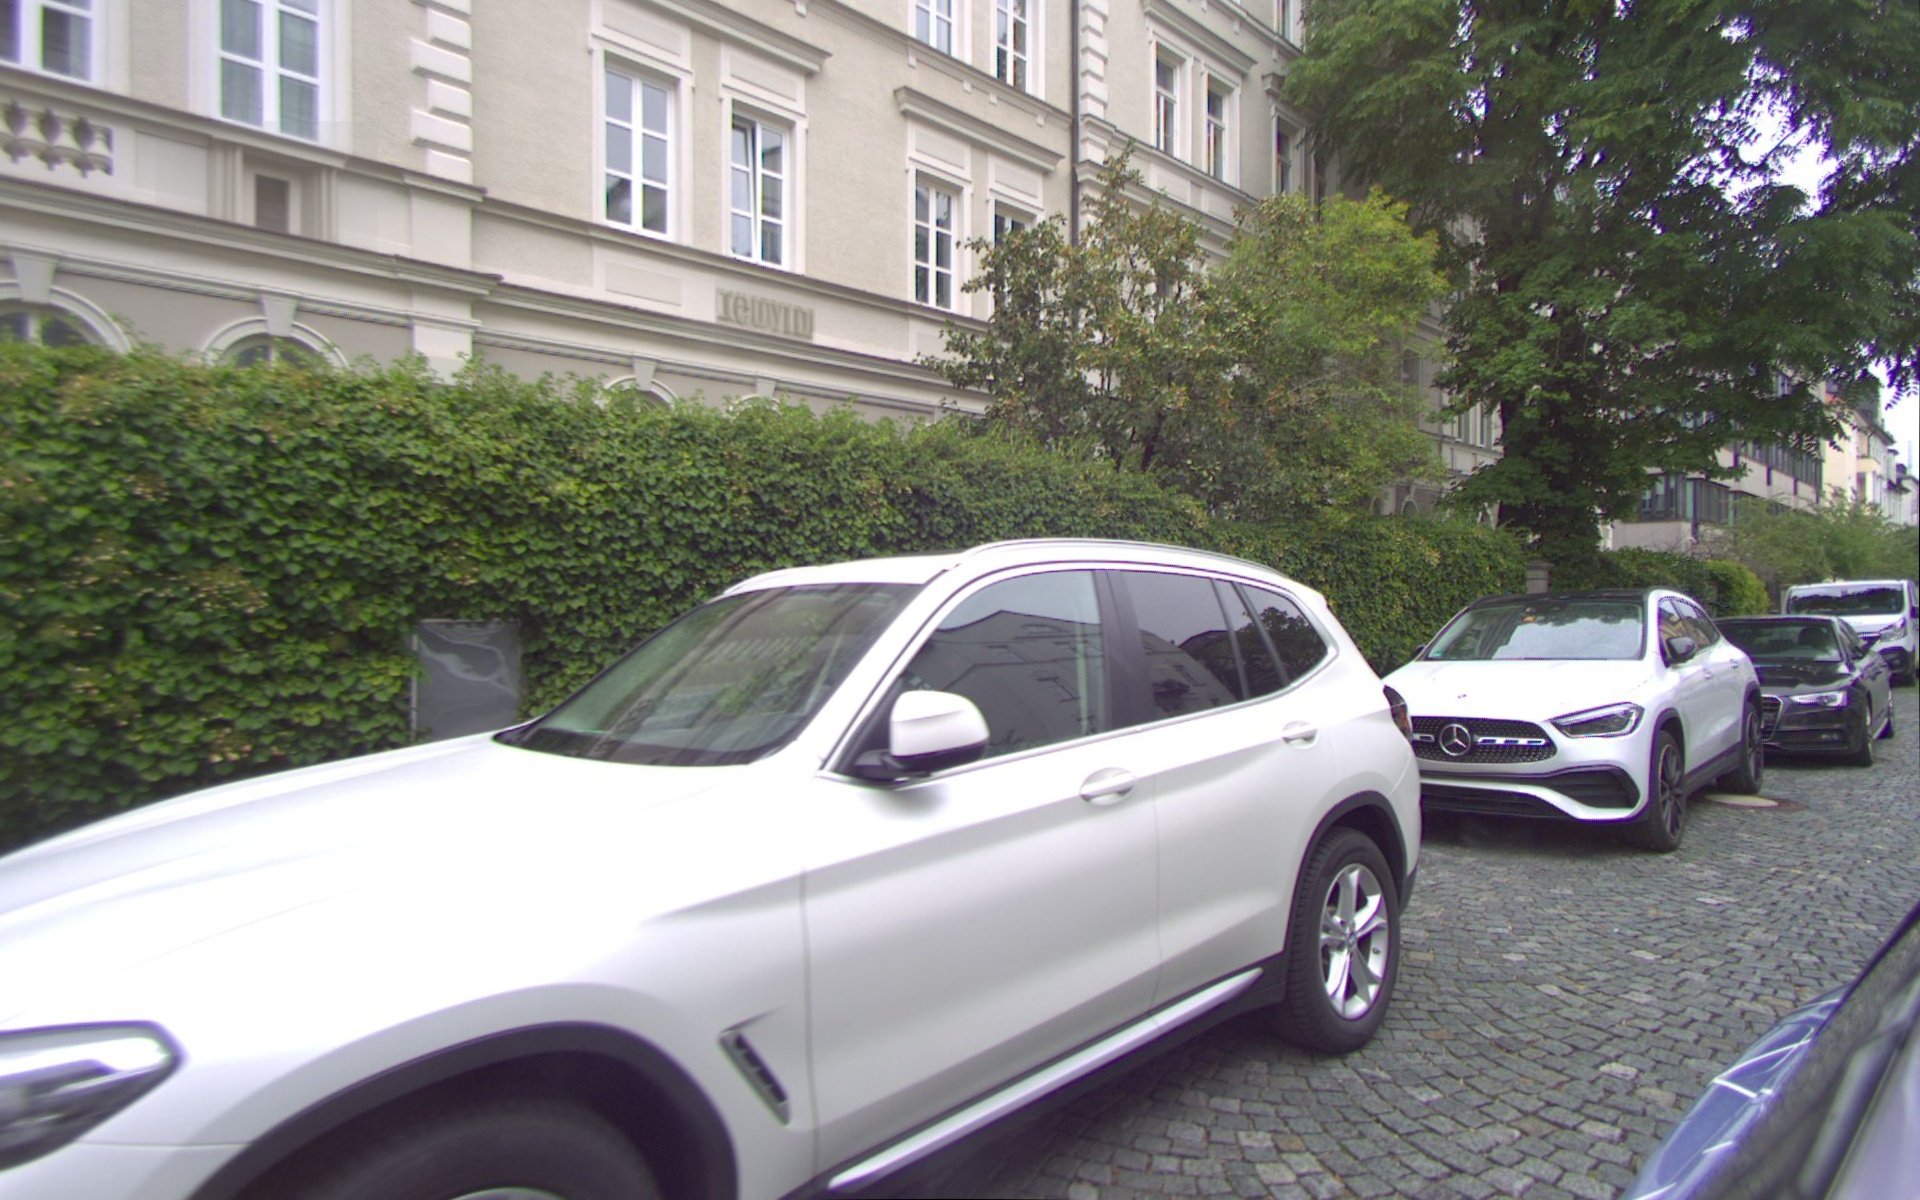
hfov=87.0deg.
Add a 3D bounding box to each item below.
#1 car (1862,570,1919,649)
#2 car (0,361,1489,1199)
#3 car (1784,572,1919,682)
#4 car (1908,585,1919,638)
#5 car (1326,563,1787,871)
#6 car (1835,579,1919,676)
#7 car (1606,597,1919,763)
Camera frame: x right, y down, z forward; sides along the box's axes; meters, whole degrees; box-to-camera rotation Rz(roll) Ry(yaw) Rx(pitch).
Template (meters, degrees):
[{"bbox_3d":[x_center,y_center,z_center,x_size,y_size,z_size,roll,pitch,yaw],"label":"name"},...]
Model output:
[{"bbox_3d":[26.268,0.219,27.613,3.931,2.039,1.996,-1,0,-42],"label":"car"},{"bbox_3d":[-0.297,0.545,3.120,4.554,1.707,1.923,-1,1,-42],"label":"car"},{"bbox_3d":[17.284,0.472,19.220,4.728,1.843,1.815,-1,-3,-43],"label":"car"},{"bbox_3d":[33.567,0.346,34.104,3.931,1.737,1.996,-1,0,-42],"label":"car"},{"bbox_3d":[4.596,0.590,7.471,4.397,1.620,1.749,-1,0,-43],"label":"car"},{"bbox_3d":[21.494,0.553,22.931,3.931,2.039,1.996,-1,0,-42],"label":"car"},{"bbox_3d":[8.585,0.655,10.618,4.728,1.314,1.921,-1,0,-43],"label":"car"}]
